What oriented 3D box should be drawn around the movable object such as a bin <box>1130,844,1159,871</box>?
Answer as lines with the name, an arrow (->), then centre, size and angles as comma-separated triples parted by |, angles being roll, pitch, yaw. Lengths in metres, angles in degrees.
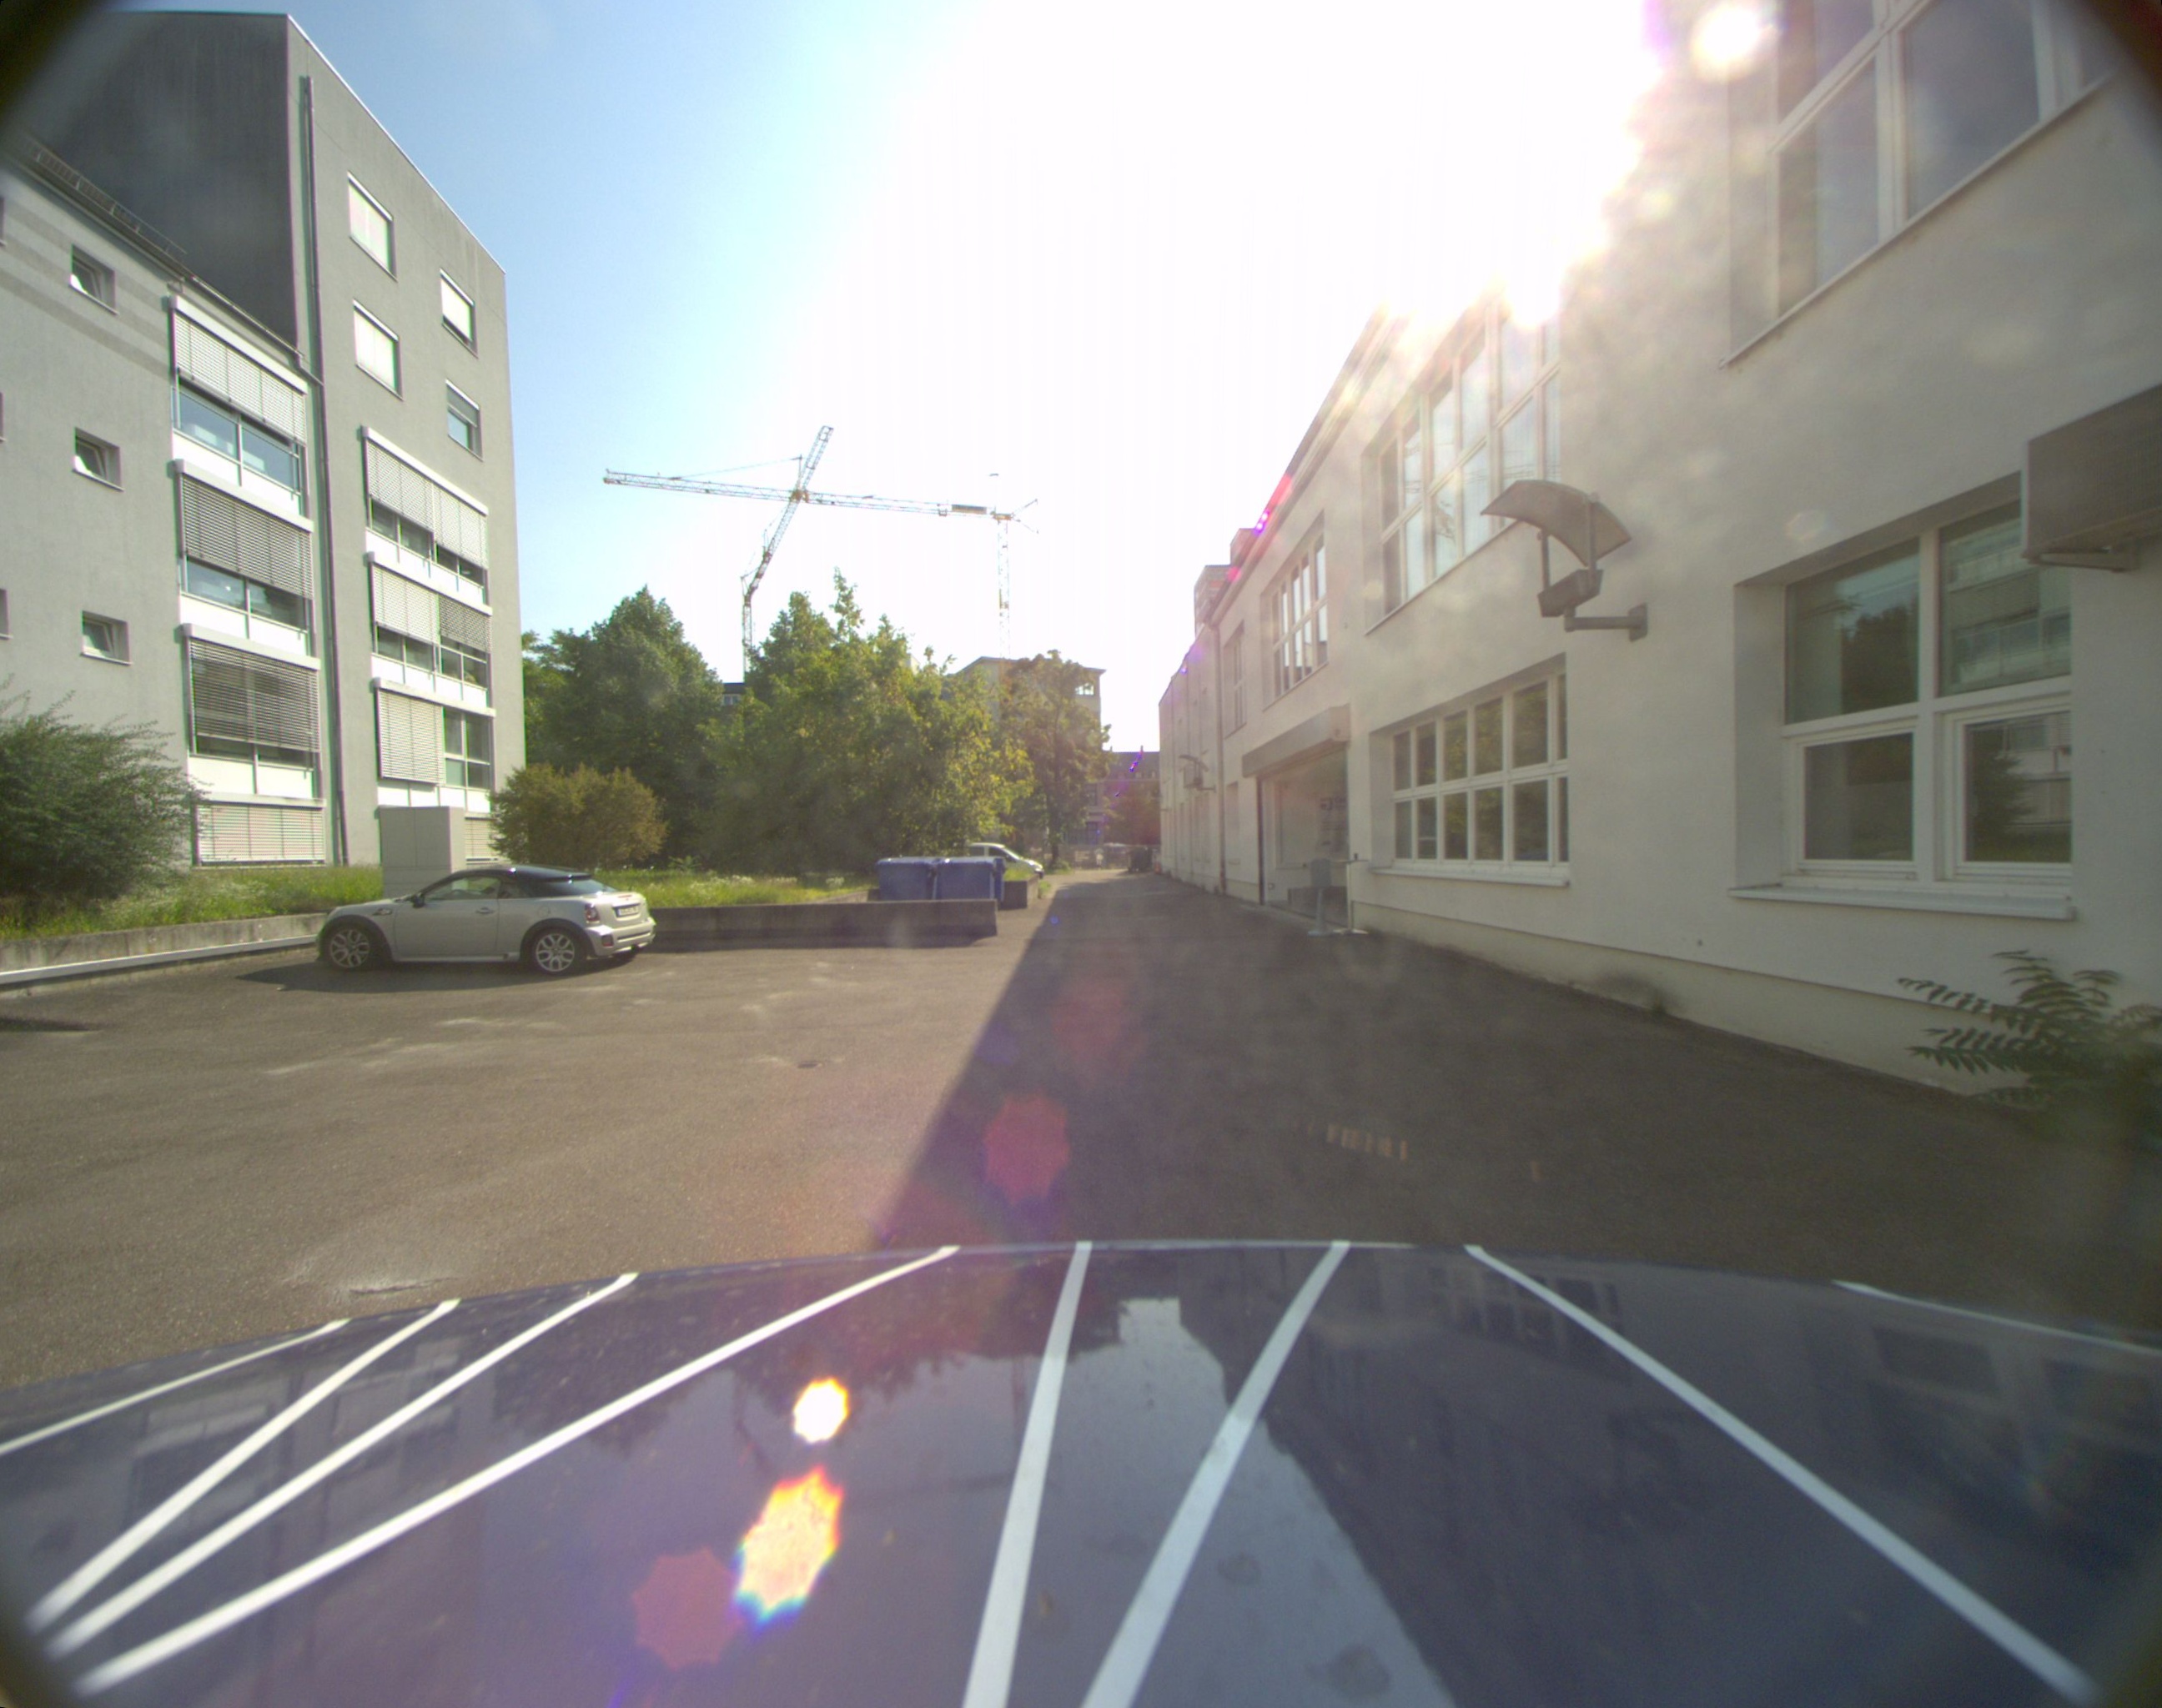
movable object such as a bin -> 3.642, 0.205, 43.580 | 1.524, 1.457, 1.275 | -2, 1, 0

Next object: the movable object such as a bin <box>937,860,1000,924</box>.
movable object such as a bin -> -2.496, 0.825, 17.076 | 1.214, 1.343, 1.275 | -2, 1, -1

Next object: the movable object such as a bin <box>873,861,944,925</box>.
movable object such as a bin -> -3.848, 0.854, 17.117 | 1.257, 1.320, 1.275 | -2, 1, 1

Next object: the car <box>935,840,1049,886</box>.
car -> -3.931, 0.407, 34.074 | 4.789, 1.920, 1.909 | -1, 1, 2

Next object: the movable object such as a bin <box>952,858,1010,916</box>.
movable object such as a bin -> -2.421, 0.788, 18.647 | 1.199, 1.320, 1.275 | -2, 1, 1

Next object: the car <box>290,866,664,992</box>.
car -> -7.855, 0.932, 10.173 | 3.580, 1.429, 1.658 | -1, 1, -3

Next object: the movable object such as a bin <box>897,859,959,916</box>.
movable object such as a bin -> -3.742, 0.801, 18.724 | 1.199, 1.320, 1.275 | -2, 1, 1
